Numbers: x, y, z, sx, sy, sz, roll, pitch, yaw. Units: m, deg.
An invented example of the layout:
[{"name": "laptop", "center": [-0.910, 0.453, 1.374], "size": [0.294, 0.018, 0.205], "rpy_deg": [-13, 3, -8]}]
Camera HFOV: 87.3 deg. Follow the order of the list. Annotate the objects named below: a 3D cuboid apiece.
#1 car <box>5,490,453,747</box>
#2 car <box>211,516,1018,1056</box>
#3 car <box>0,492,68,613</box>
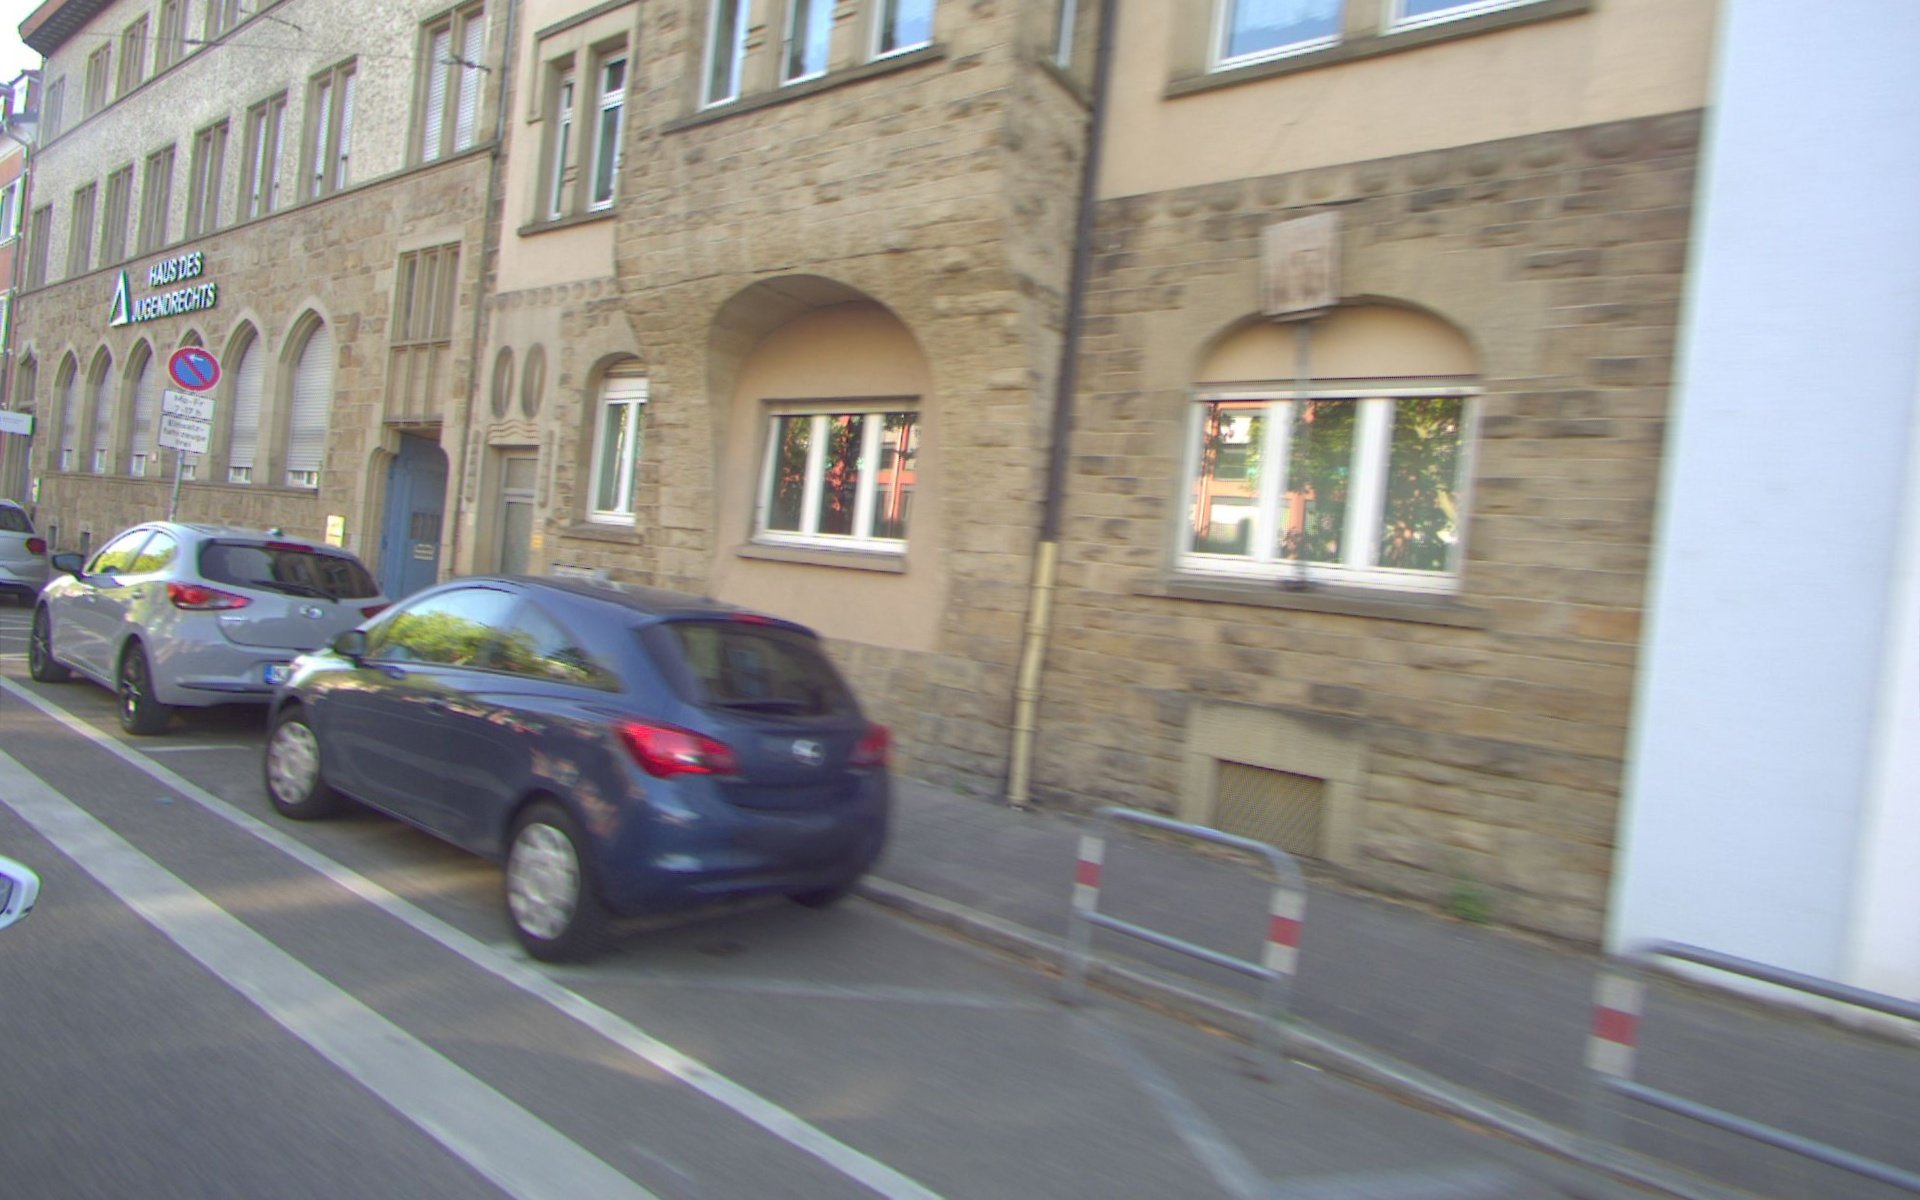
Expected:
[{"name": "car", "center": [-6.162, 0.068, 8.313], "size": [4.132, 1.518, 1.753], "rpy_deg": [7, -1, 37]}, {"name": "car", "center": [-1.886, 0.555, 4.949], "size": [3.937, 1.500, 1.656], "rpy_deg": [7, 0, 35]}, {"name": "car", "center": [-14.301, -0.862, 14.102], "size": [4.160, 1.518, 1.715], "rpy_deg": [7, -1, 36]}]
